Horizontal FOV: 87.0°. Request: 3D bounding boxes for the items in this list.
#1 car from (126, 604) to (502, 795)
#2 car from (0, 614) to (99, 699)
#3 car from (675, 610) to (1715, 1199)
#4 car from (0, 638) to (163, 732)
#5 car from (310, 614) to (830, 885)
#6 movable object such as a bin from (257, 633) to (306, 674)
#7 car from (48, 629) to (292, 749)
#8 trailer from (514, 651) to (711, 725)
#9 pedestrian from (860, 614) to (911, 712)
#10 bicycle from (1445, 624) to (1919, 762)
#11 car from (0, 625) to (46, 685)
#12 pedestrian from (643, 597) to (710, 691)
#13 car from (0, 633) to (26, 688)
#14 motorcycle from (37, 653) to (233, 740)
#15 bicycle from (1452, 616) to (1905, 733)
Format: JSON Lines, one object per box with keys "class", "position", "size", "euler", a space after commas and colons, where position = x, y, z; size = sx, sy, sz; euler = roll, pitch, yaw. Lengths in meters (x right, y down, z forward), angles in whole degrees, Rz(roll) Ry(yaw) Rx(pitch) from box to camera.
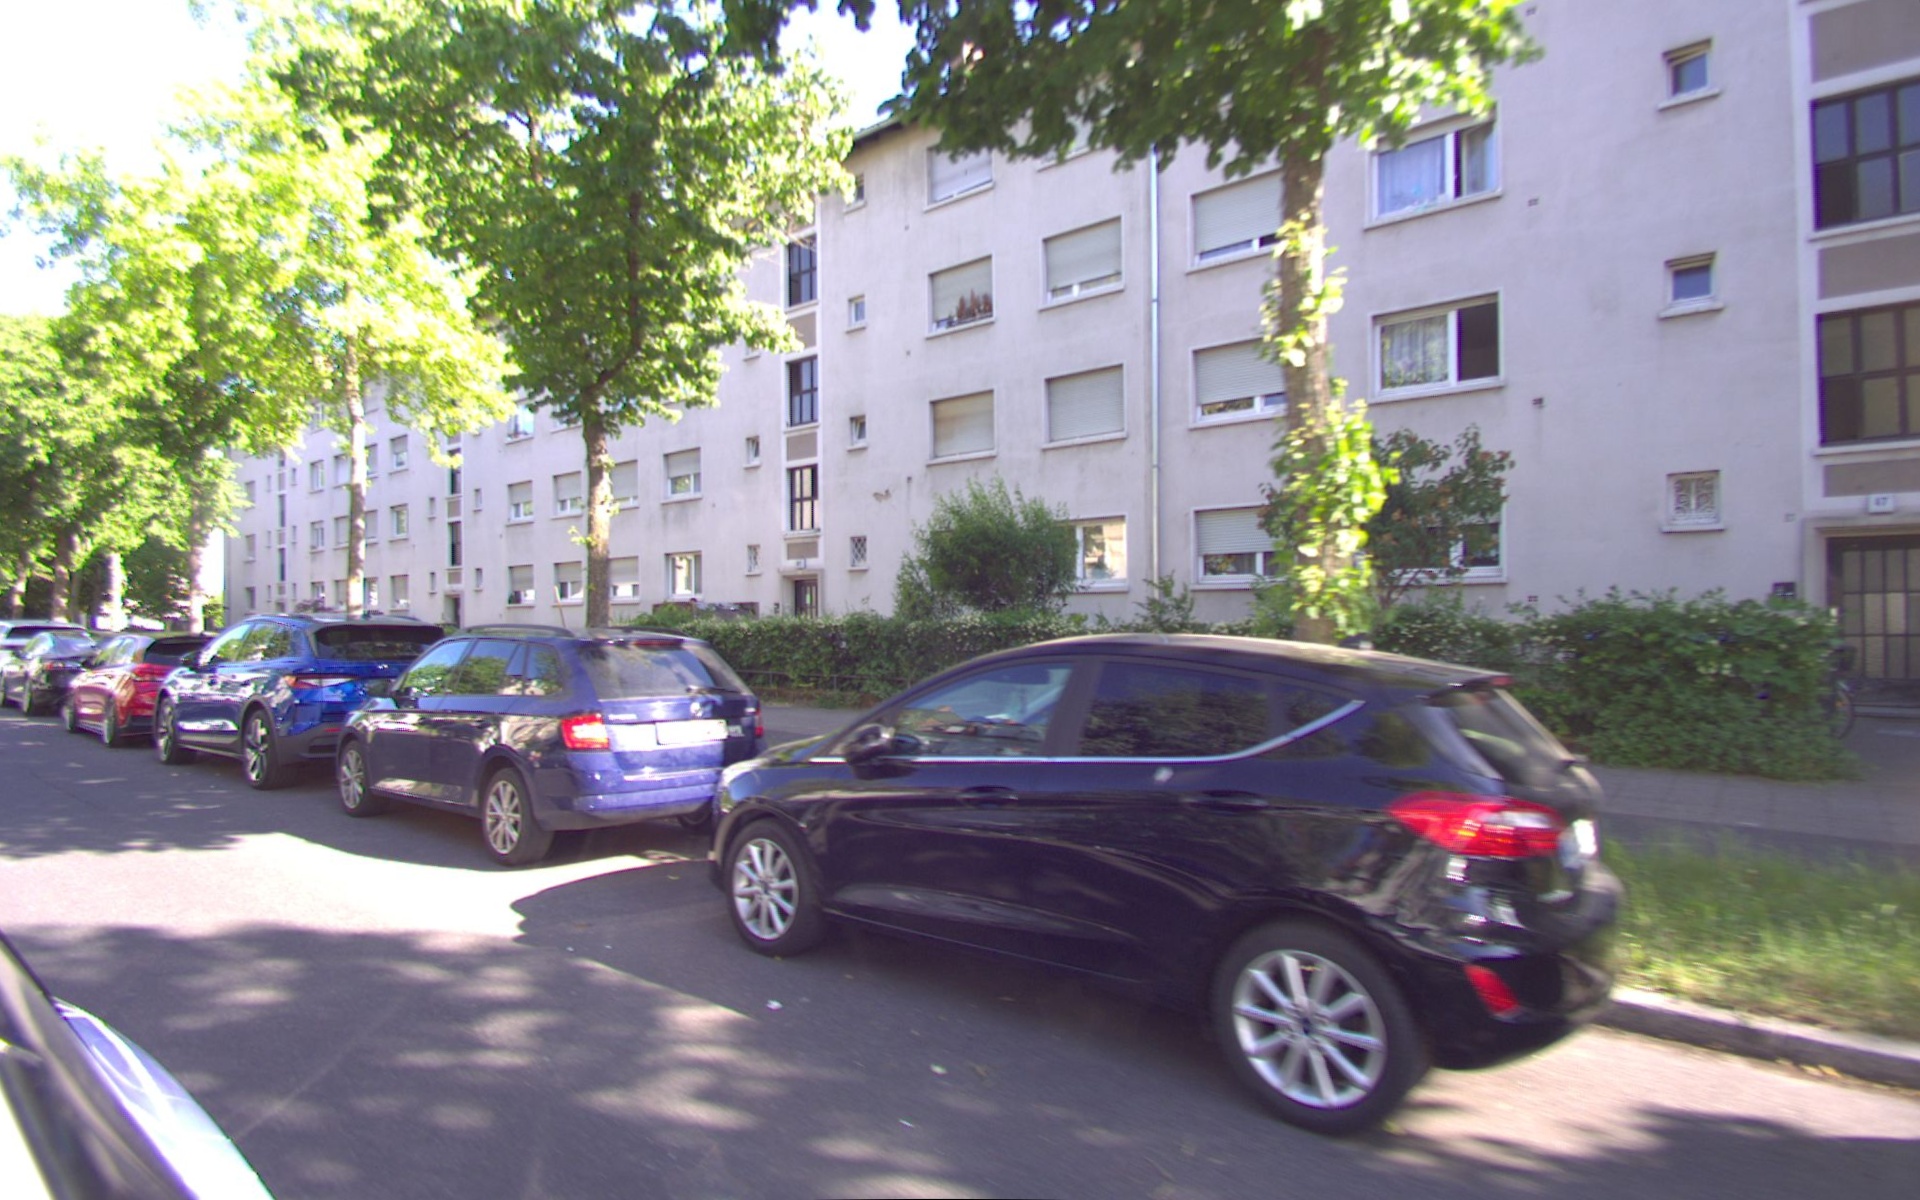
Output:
{"class": "car", "position": [-6.795, 0.931, 10.479], "size": [4.458, 1.579, 1.773], "euler": [-1, -5, 37]}
{"class": "car", "position": [-19.964, 1.143, 21.544], "size": [4.361, 1.630, 1.711], "euler": [-1, -1, 39]}
{"class": "car", "position": [0.707, 0.837, 4.280], "size": [3.904, 1.455, 1.744], "euler": [-2, -4, 39]}
{"class": "car", "position": [-16.175, 1.487, 18.373], "size": [4.615, 1.489, 1.710], "euler": [-2, -6, 40]}
{"class": "car", "position": [-3.048, 0.885, 7.521], "size": [4.118, 1.464, 1.811], "euler": [-2, -3, 40]}
{"class": "movable object such as a bin", "position": [-22.985, 1.792, 34.265], "size": [1.376, 1.334, 0.922], "euler": [-1, -3, 35]}
{"class": "car", "position": [-10.875, 1.123, 13.825], "size": [4.259, 1.389, 1.761], "euler": [-2, -4, 40]}
{"class": "trailer", "position": [-5.874, 1.409, 16.964], "size": [3.280, 1.042, 1.770], "euler": [-2, -2, 42]}
{"class": "pedestrian", "position": [-1.504, 1.254, 20.388], "size": [0.770, 1.928, 0.881], "euler": [1, -2, -23]}
{"class": "bicycle", "position": [6.976, 0.826, 9.796], "size": [3.989, 1.145, 1.094], "euler": [-2, -2, 34]}
{"class": "car", "position": [-25.312, 1.400, 26.183], "size": [4.815, 1.458, 1.711], "euler": [-2, -5, 39]}
{"class": "pedestrian", "position": [-5.938, 0.908, 21.222], "size": [1.025, 1.902, 0.923], "euler": [-2, -3, 40]}
{"class": "car", "position": [-29.151, 1.750, 29.476], "size": [4.714, 1.536, 2.045], "euler": [-2, -2, 37]}
{"class": "motorcycle", "position": [-13.196, 1.505, 16.286], "size": [0.805, 1.280, 2.270], "euler": [-1, -4, 29]}
{"class": "bicycle", "position": [7.855, 0.787, 11.465], "size": [3.989, 1.145, 1.094], "euler": [-2, -2, 34]}
